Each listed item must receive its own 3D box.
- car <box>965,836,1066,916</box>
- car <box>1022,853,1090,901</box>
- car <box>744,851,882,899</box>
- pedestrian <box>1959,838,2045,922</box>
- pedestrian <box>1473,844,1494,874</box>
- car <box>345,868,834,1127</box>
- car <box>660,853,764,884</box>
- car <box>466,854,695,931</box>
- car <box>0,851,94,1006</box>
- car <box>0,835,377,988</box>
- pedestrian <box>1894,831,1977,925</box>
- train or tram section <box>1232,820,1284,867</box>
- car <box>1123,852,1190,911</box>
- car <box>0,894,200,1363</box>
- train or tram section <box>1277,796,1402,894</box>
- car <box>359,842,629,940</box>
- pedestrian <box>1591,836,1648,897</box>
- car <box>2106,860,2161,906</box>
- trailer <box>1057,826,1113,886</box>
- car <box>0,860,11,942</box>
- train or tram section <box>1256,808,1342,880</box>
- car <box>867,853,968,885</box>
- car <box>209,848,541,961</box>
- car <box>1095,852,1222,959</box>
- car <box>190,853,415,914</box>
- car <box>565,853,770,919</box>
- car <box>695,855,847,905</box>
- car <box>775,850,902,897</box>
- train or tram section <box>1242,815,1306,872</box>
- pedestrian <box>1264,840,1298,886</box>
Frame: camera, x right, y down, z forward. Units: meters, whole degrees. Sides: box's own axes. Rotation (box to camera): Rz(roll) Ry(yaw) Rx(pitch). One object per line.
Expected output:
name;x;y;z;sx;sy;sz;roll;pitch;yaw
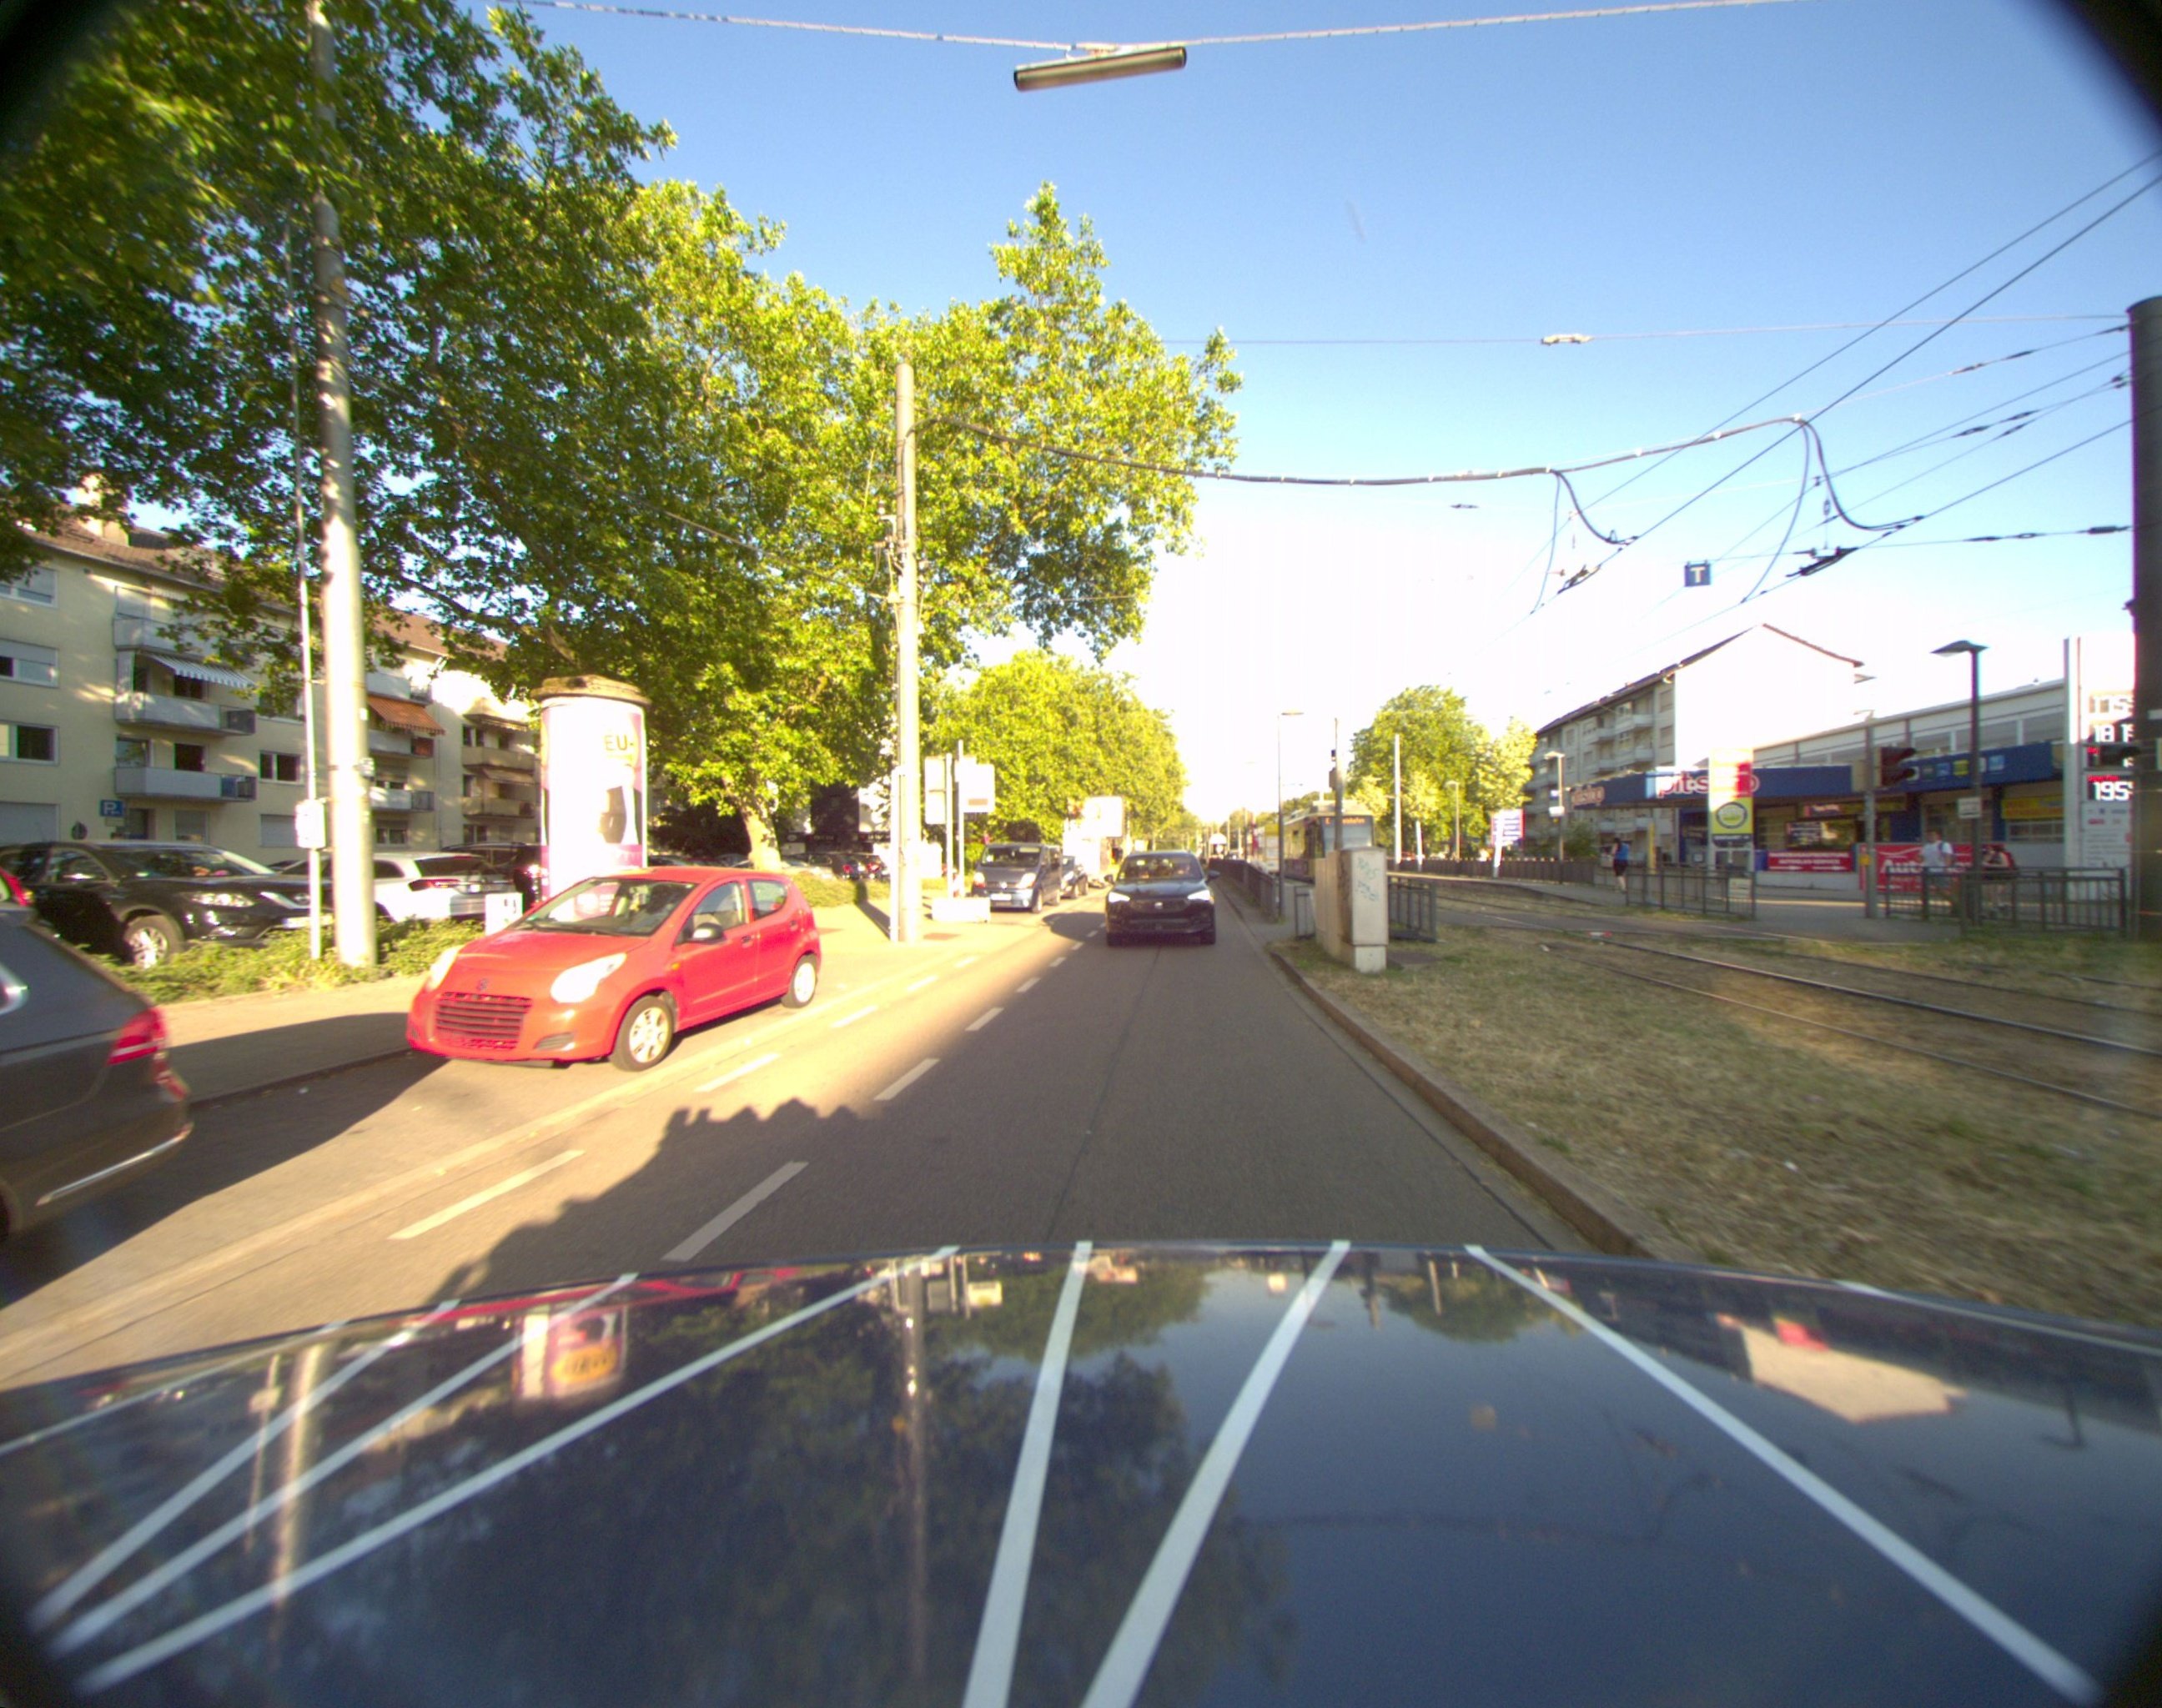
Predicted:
car;-1.754;0.566;21.984;1.888;2.066;4.565;0;0;8
car;-0.847;0.791;27.988;1.799;1.621;4.002;0;0;8
car;-9.249;0.694;26.341;4.119;1.589;1.804;0;0;9
pedestrian;19.418;0.532;16.044;0.754;1.737;0.861;0;1;5
pedestrian;25.393;0.299;47.961;0.754;1.871;1.001;-3;0;7
car;-3.787;0.941;6.681;1.572;1.486;3.628;2;1;8
car;-18.752;0.718;38.727;4.290;1.487;2.001;0;0;5
car;-10.641;0.815;16.275;3.847;1.427;1.804;-3;-1;9
car;-12.060;0.805;7.158;3.504;1.474;1.775;-3;0;7
car;-11.625;0.699;9.545;4.029;1.591;1.857;-3;0;7
pedestrian;17.891;0.485;15.934;0.859;1.921;0.755;0;1;6
train or tram section;14.372;-0.873;62.420;3.041;3.497;10.101;1;1;7
car;2.537;0.808;24.456;1.888;1.656;4.856;-1;0;8
car;-4.675;0.947;0.851;1.700;1.522;4.654;2;1;6
train or tram section;10.569;-0.414;32.353;3.041;3.497;10.101;1;1;7
car;-11.004;0.675;14.372;3.847;1.622;1.858;-2;0;9
pedestrian;15.372;0.349;21.716;0.936;1.644;0.926;-3;0;8
car;38.389;0.964;25.949;3.801;1.514;1.819;0;0;11
trailer;0.254;0.093;35.091;1.888;2.573;4.653;0;0;8
car;-22.171;0.876;13.516;4.056;1.526;2.001;0;0;9
train or tram section;11.843;-0.572;42.378;3.041;3.497;10.101;1;1;7
car;-7.798;0.708;36.519;4.290;1.487;2.001;-1;0;5
car;-11.136;0.768;12.128;3.847;1.486;1.858;-3;0;9
car;1.379;0.815;14.031;1.910;1.606;4.087;-3;0;4
car;-20.950;0.757;20.555;4.290;1.526;2.001;0;0;6
car;-9.986;0.737;18.481;4.119;1.486;1.804;0;0;9
car;-9.775;0.796;24.082;4.119;1.486;1.804;0;0;9
car;-9.114;0.705;28.677;4.119;1.541;1.804;-3;0;9
train or tram section;13.106;-0.725;52.421;3.041;3.497;10.101;1;1;7
pedestrian;6.845;0.303;26.077;0.918;1.541;0.789;-2;1;0
